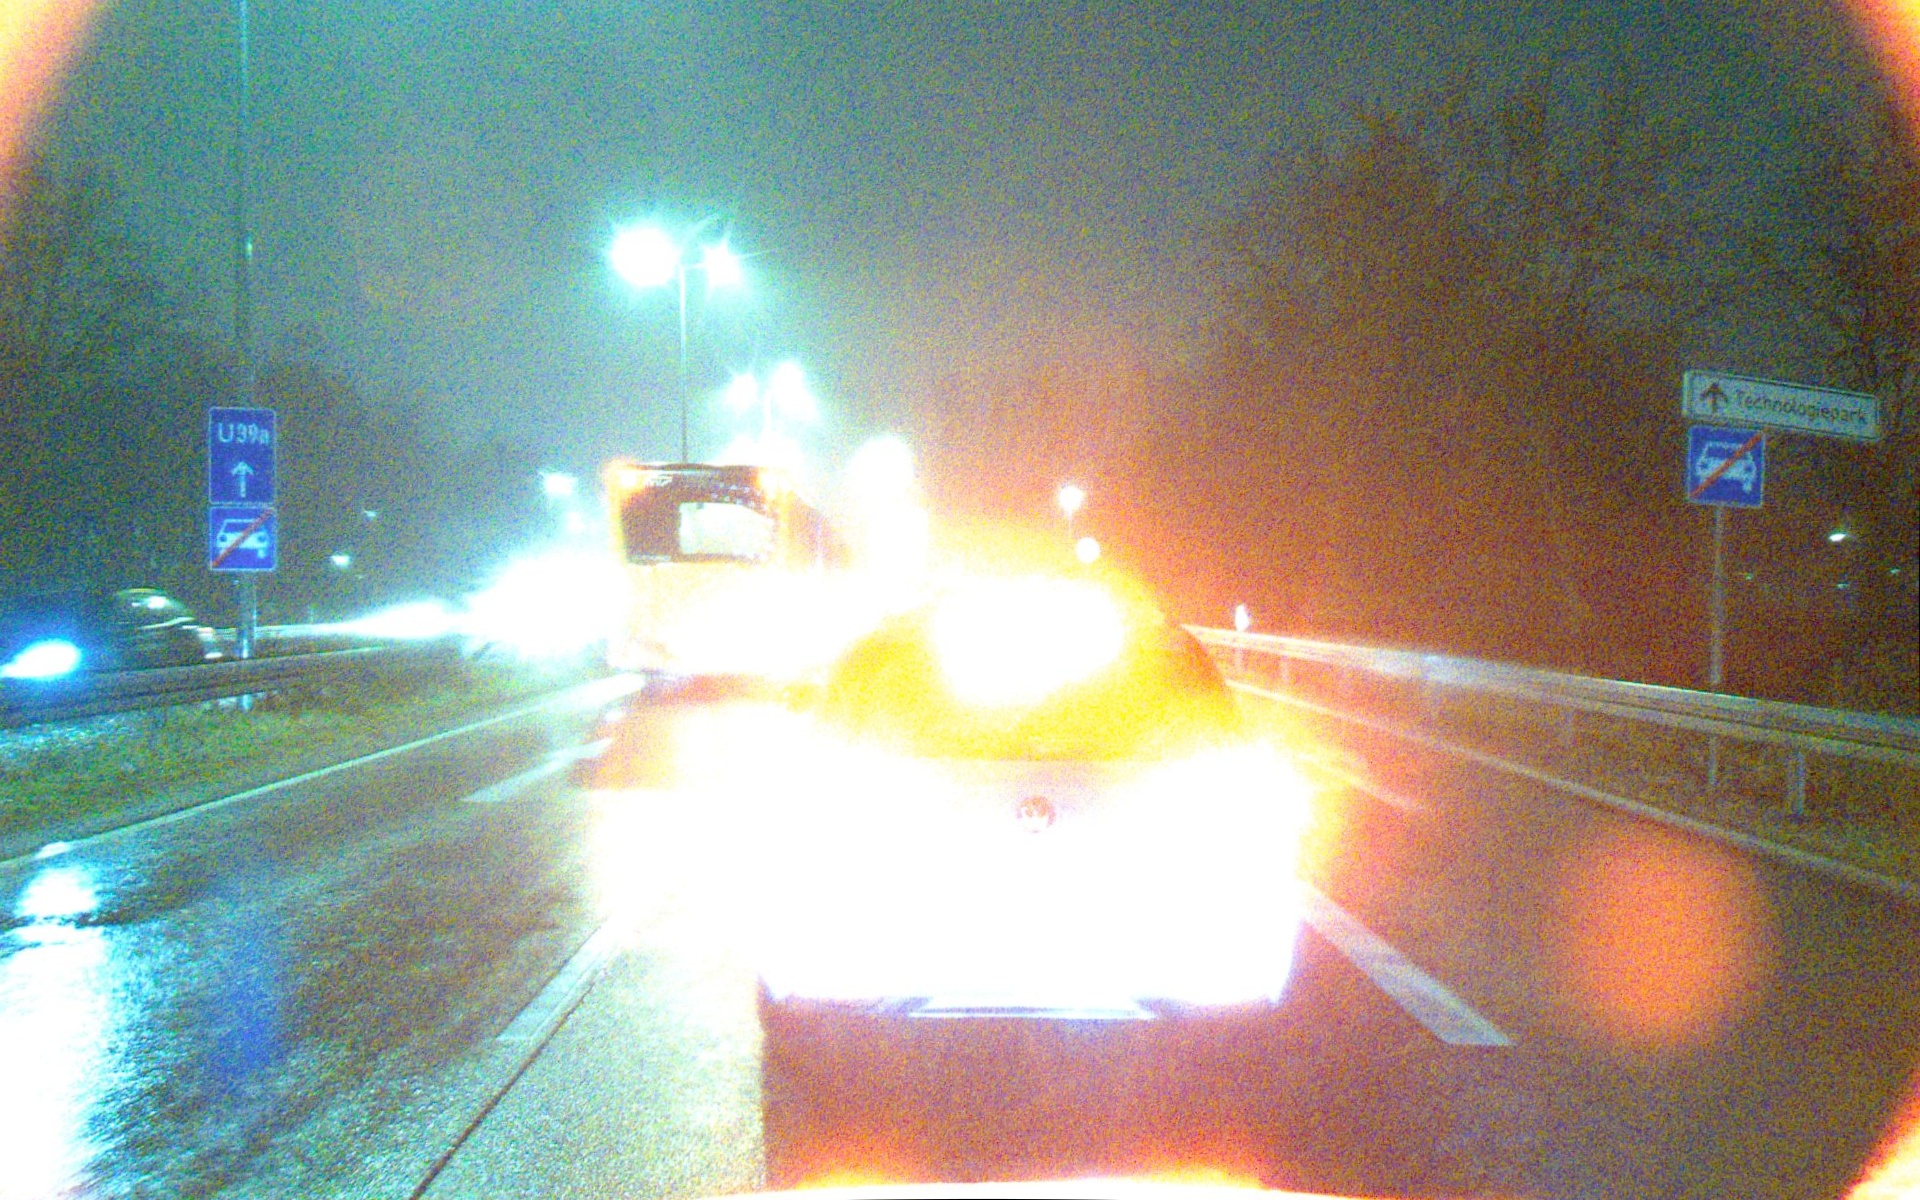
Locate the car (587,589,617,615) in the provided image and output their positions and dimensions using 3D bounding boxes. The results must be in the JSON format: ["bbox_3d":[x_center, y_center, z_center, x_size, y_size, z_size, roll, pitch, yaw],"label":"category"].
[{"bbox_3d":[-28.449,0.158,131.648,1.956,2.049,3.993,1,0,-7],"label":"car"}]

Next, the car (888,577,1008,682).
[{"bbox_3d":[-0.263,0.436,27.185,1.705,1.592,3.773,1,0,-4],"label":"car"}]

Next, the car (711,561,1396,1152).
[{"bbox_3d":[0.225,0.684,6.766,1.785,1.510,4.567,3,0,-1],"label":"car"}]

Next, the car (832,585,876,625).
[{"bbox_3d":[-4.315,0.186,67.955,1.744,1.570,3.873,1,0,-3],"label":"car"}]

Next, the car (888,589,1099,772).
[{"bbox_3d":[0.170,0.643,15.835,1.697,1.474,4.722,1,0,-3],"label":"car"}]

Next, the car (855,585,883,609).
[{"bbox_3d":[-6.147,-0.201,112.284,1.743,1.570,3.874,1,0,-1],"label":"car"}]

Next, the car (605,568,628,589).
[{"bbox_3d":[-35.038,-2.147,168.725,2.085,2.049,3.985,1,0,-14],"label":"car"}]

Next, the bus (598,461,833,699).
[{"bbox_3d":[-3.509,-0.285,25.851,2.759,3.077,8.682,0,0,-3],"label":"bus"}]

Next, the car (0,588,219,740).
[{"bbox_3d":[-10.357,0.655,19.277,1.716,1.579,4.009,0,0,-2],"label":"car"}]

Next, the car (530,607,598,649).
[{"bbox_3d":[-15.203,1.051,63.696,1.578,1.406,4.163,-2,1,-1],"label":"car"}]

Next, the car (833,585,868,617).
[{"bbox_3d":[-5.626,0.043,84.837,1.744,1.570,3.871,1,0,-4],"label":"car"}]

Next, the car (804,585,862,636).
[{"bbox_3d":[-4.058,0.301,53.263,1.744,1.570,3.872,1,0,-3],"label":"car"}]
